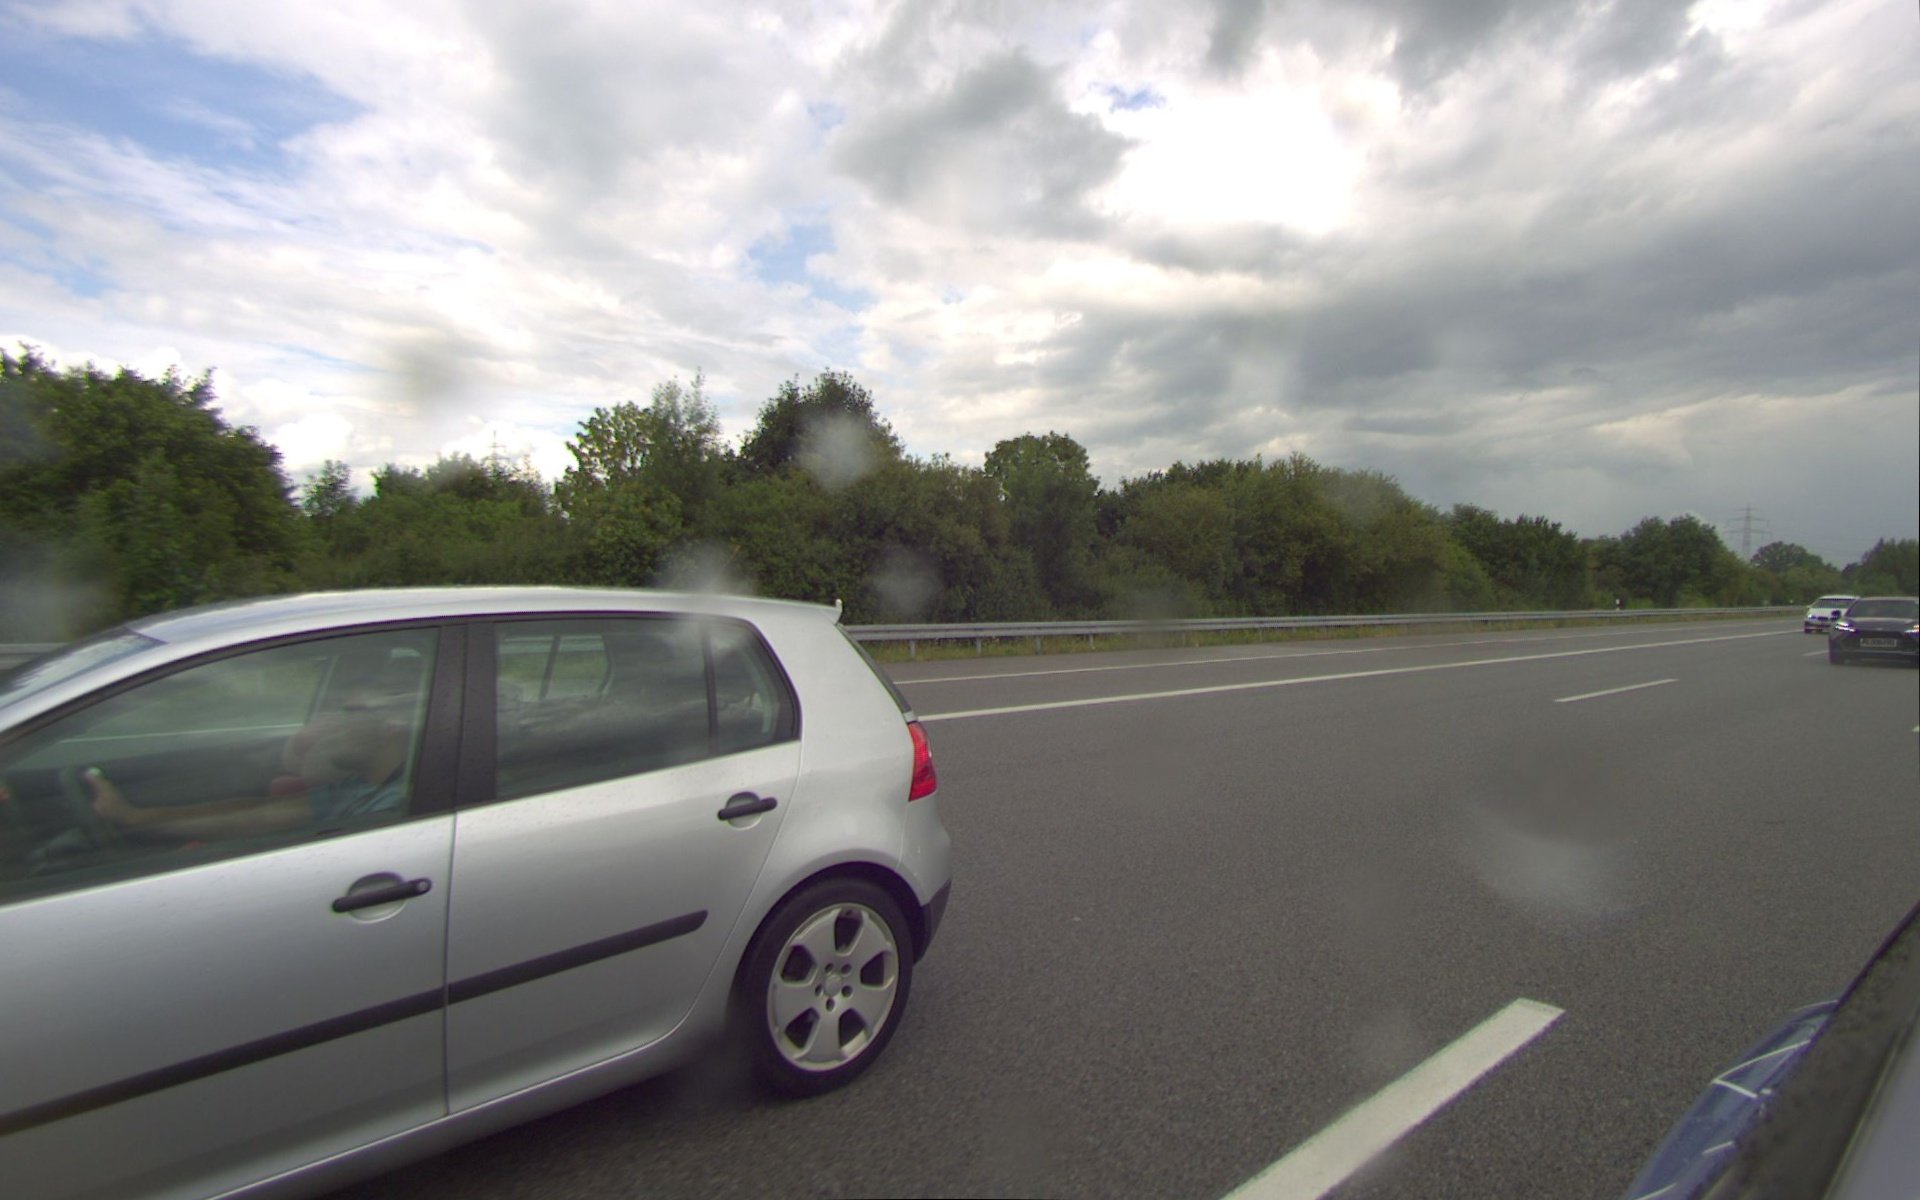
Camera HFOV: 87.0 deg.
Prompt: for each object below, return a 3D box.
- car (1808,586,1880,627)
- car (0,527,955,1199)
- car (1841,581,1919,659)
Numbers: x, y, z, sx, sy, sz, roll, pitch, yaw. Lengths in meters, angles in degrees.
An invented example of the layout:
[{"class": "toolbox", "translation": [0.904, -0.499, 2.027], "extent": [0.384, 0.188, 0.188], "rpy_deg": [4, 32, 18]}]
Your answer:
[{"class": "car", "translation": [37.320, 0.238, 42.685], "extent": [4.616, 1.619, 1.812], "rpy_deg": [0, 1, -43]}, {"class": "car", "translation": [-2.084, 0.611, 2.525], "extent": [3.968, 1.495, 1.798], "rpy_deg": [0, 1, -42]}, {"class": "car", "translation": [21.506, 0.407, 22.981], "extent": [4.520, 1.633, 1.783], "rpy_deg": [0, 1, -43]}]
